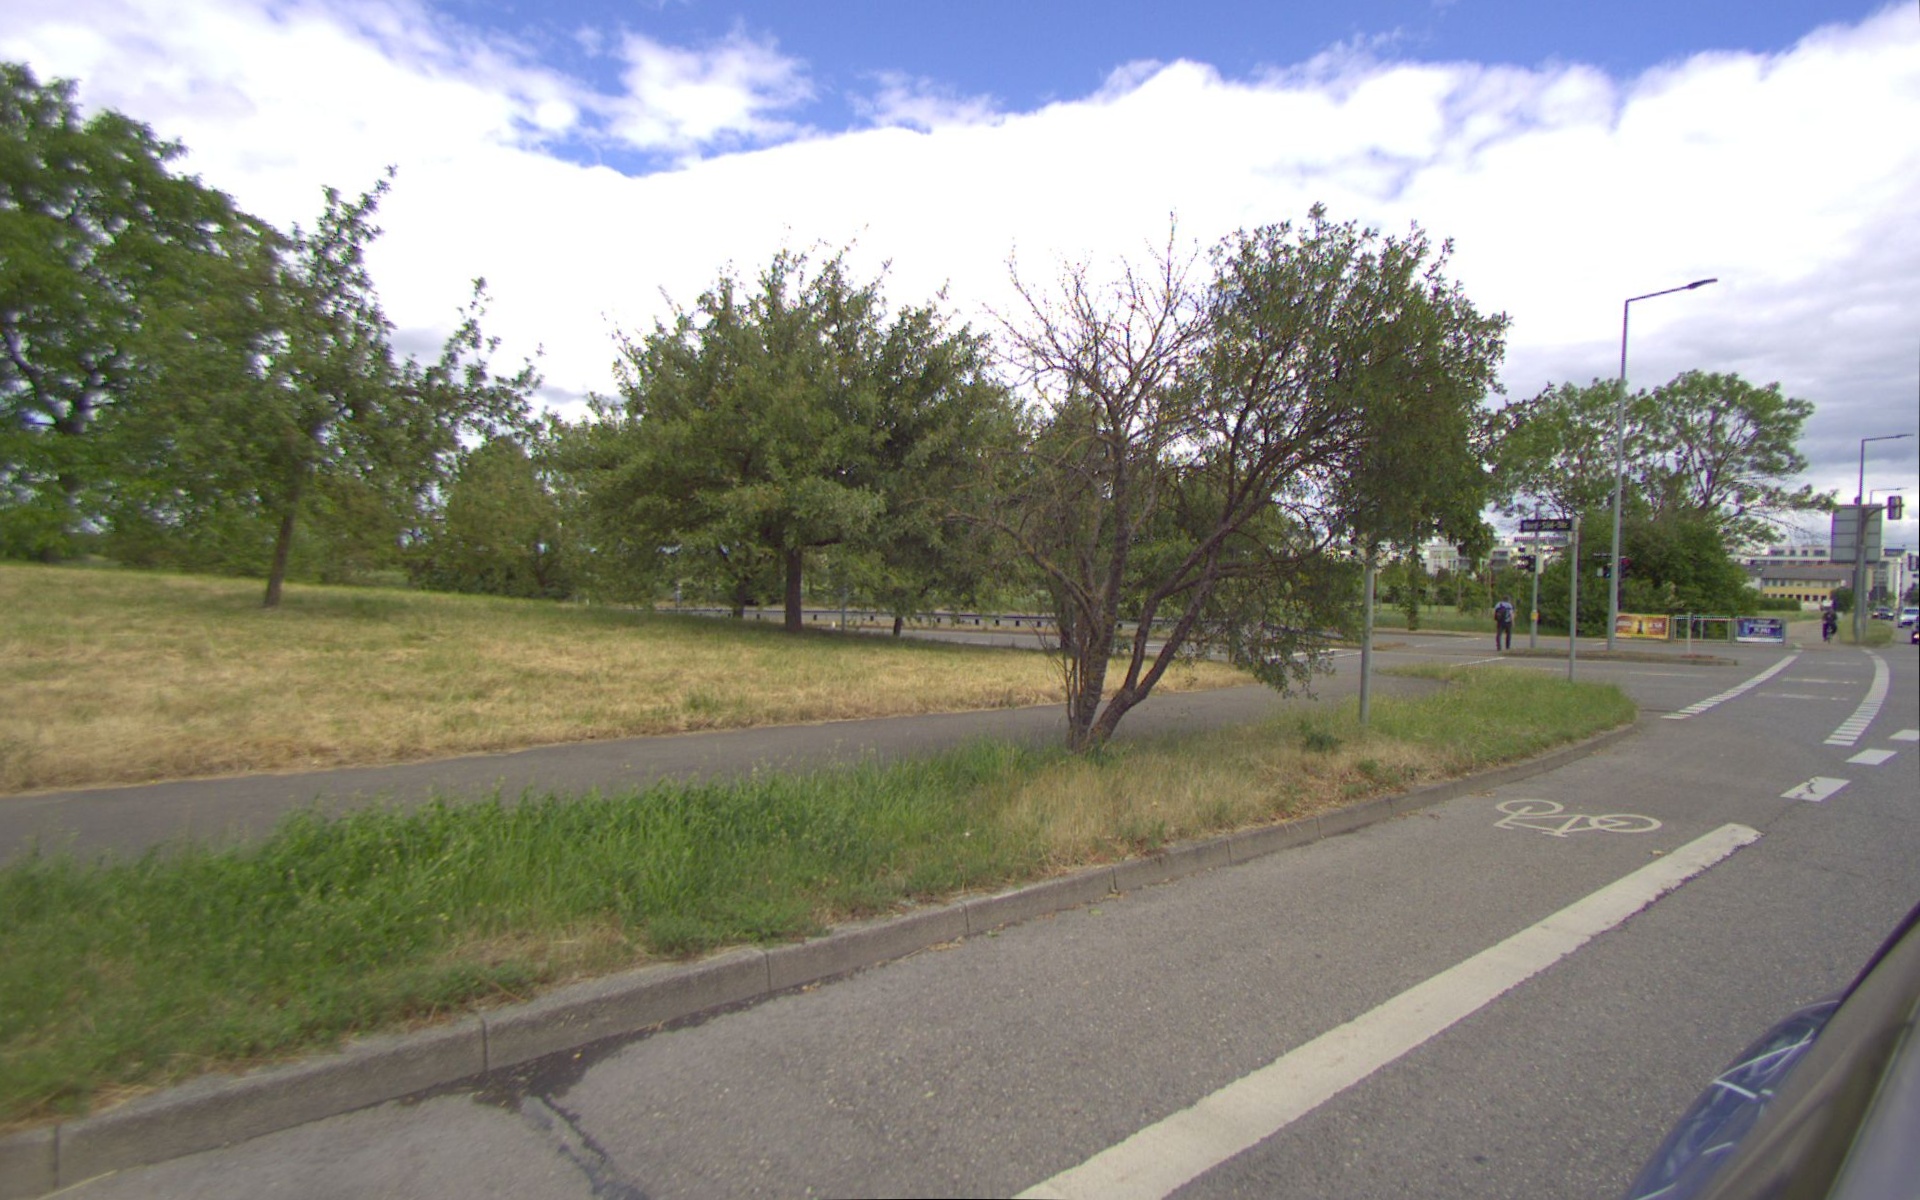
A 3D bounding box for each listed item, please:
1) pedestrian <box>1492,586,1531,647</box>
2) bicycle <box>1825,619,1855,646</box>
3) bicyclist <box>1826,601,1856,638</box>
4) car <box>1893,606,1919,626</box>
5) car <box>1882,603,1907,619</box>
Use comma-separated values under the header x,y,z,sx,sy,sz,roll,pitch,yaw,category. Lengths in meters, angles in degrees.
x,y,z,sx,sy,sz,roll,pitch,yaw,category
17.758,0.525,32.590,0.785,1.907,0.766,1,0,-4,pedestrian
42.367,1.544,48.727,1.013,1.148,2.635,3,2,41,bicycle
42.589,0.947,48.909,1.014,1.729,1.183,3,1,42,bicyclist
71.756,1.181,76.484,1.731,1.459,4.298,1,0,44,car
103.981,1.207,112.641,1.866,1.716,4.306,1,0,41,car
